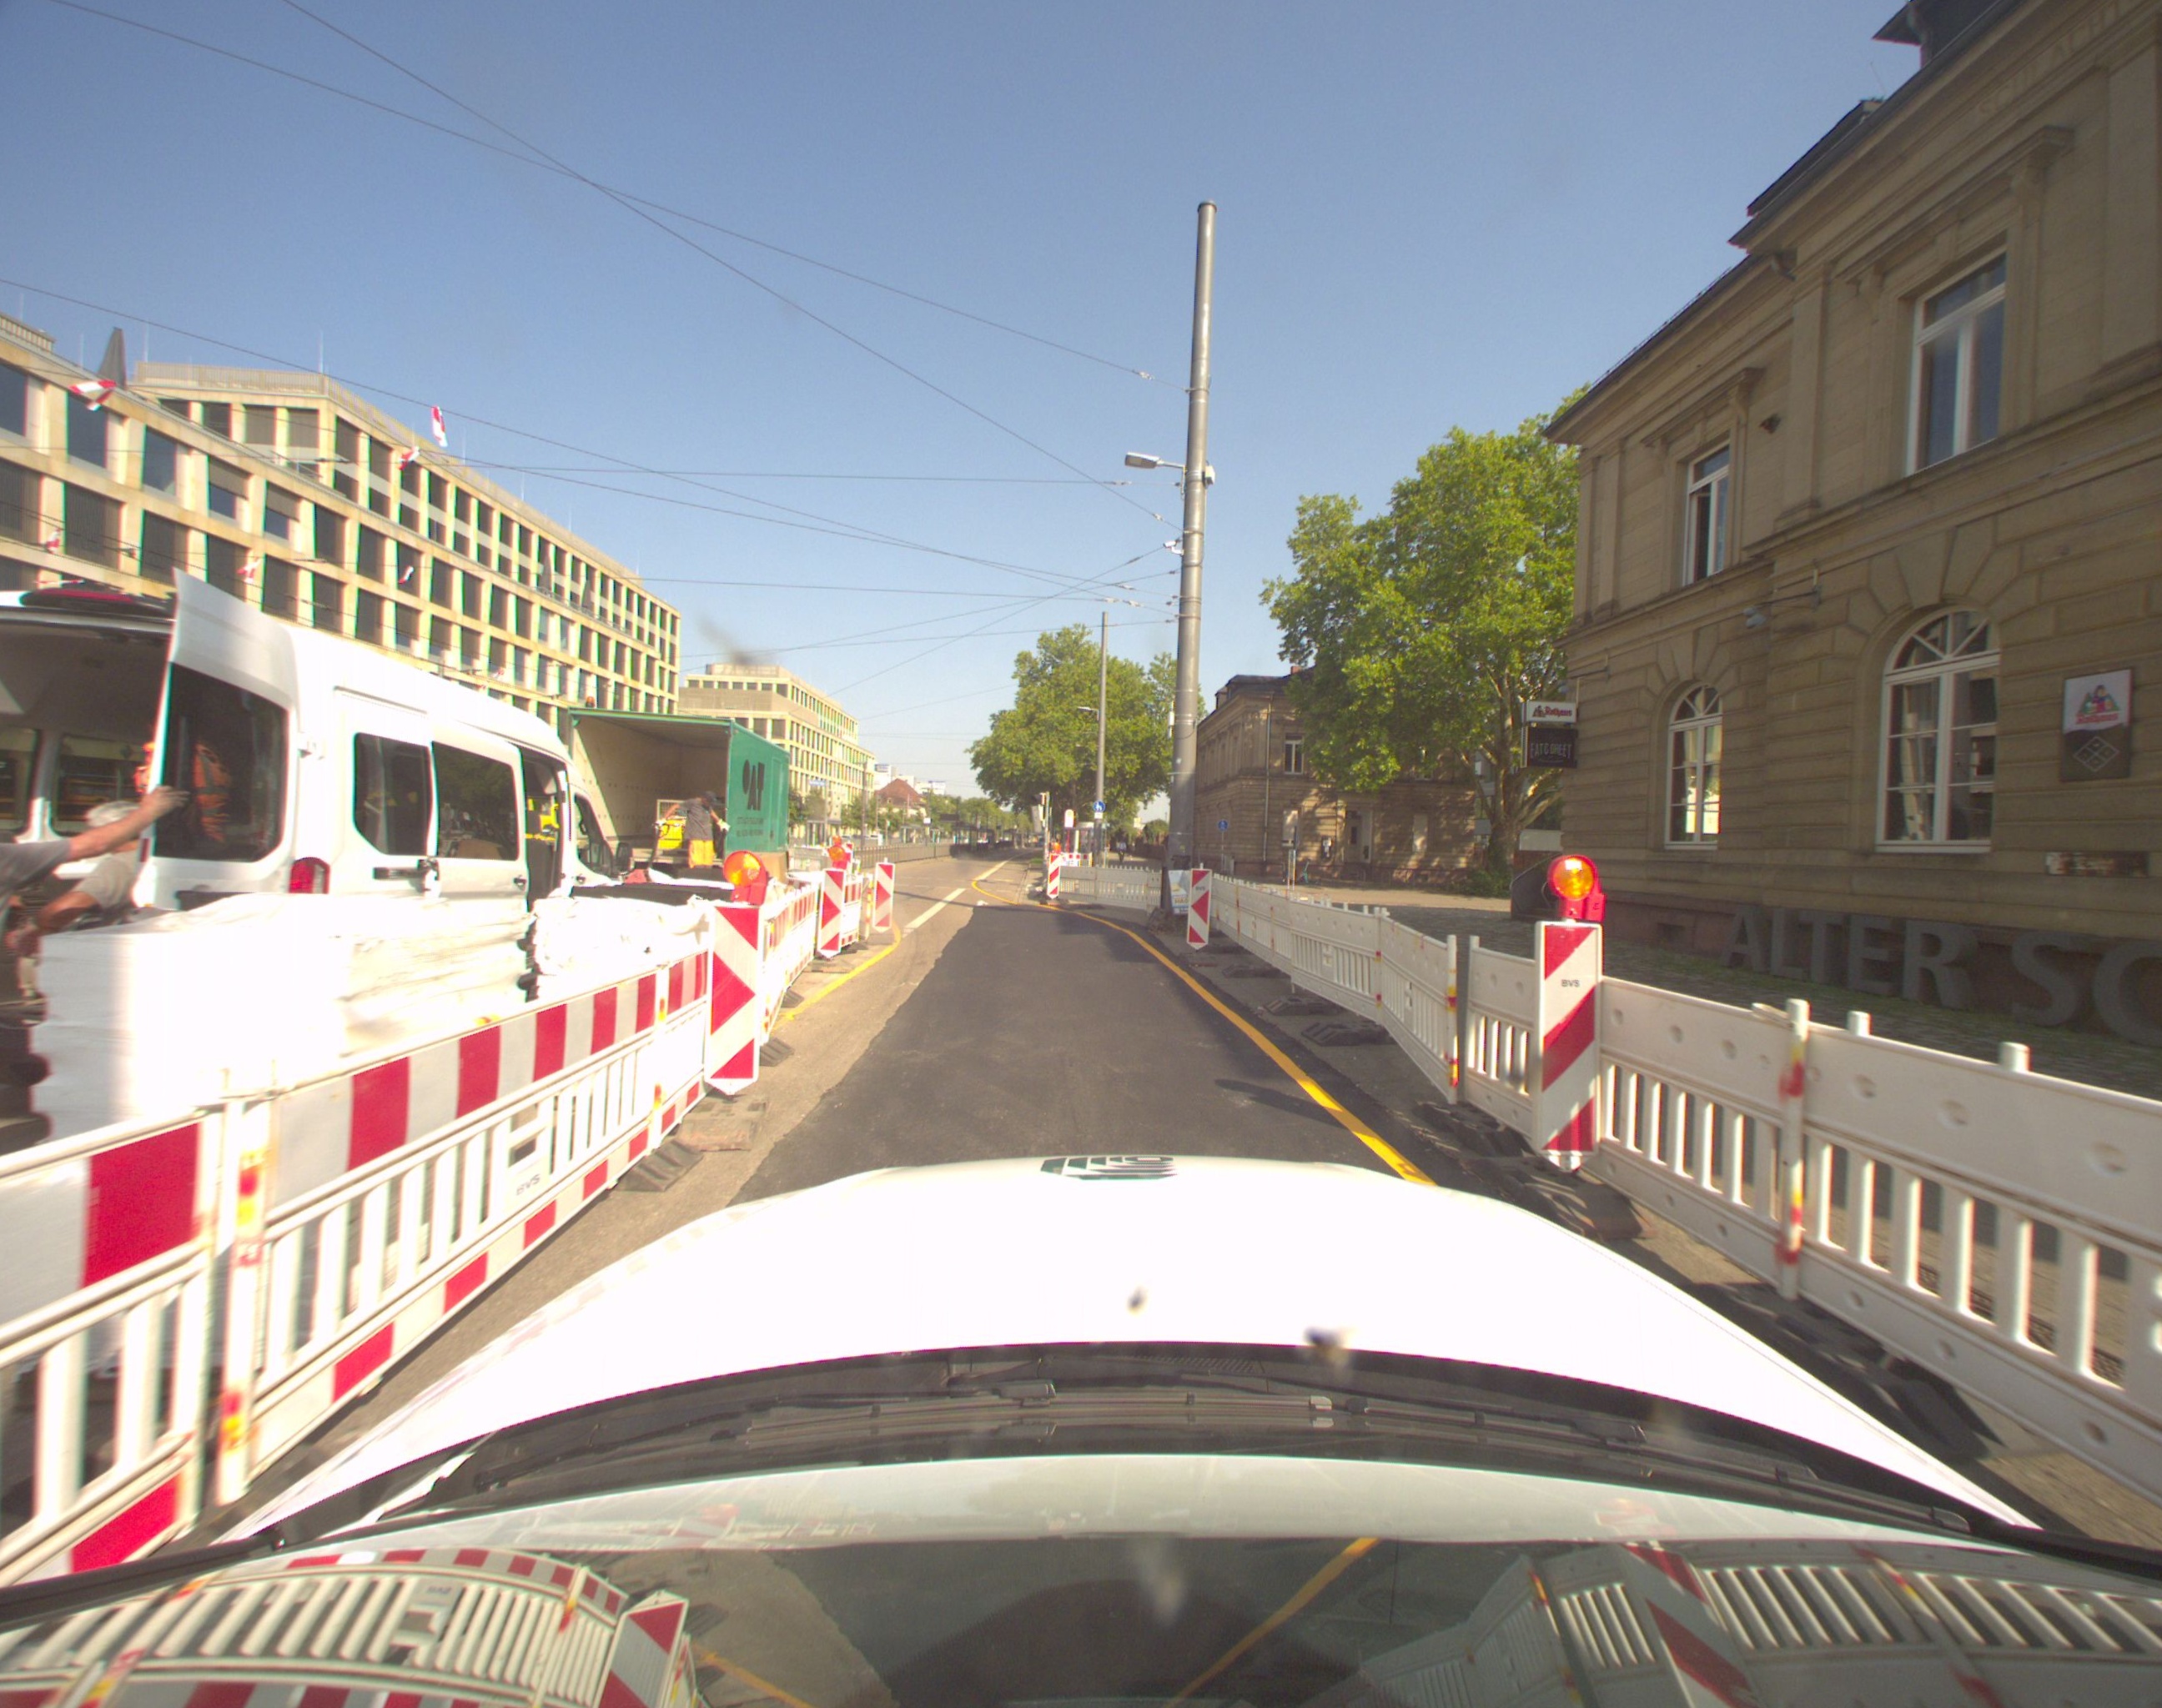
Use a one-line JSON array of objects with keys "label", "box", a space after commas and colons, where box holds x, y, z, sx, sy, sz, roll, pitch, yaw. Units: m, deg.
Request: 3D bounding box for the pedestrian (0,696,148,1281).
[{"label": "pedestrian", "box": [-4.077, 0.455, 2.869, 0.727, 2.013, 0.913, 2, 1, 31]}]

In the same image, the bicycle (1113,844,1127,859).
[{"label": "bicycle", "box": [2.829, -0.205, 59.192, 0.716, 1.041, 1.900, 2, 2, -4]}]

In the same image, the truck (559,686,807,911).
[{"label": "truck", "box": [-8.011, -1.036, 17.711, 2.675, 3.677, 8.185, 2, 2, -11]}]

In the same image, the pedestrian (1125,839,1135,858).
[{"label": "pedestrian", "box": [4.474, -0.493, 74.539, 0.817, 1.686, 1.011, 1, 1, -2]}]

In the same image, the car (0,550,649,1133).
[{"label": "car", "box": [-5.381, -0.118, 6.377, 2.227, 2.728, 5.148, 2, 1, -13]}]

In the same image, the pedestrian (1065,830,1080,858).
[{"label": "pedestrian", "box": [-0.516, -0.604, 50.586, 0.690, 1.696, 0.644, 1, 1, -23]}]

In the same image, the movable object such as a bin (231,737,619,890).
[{"label": "movable object such as a bin", "box": [-20.206, -1.205, 26.121, 3.474, 4.012, 9.090, 2, 2, 22]}]

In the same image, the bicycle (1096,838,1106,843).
[{"label": "bicycle", "box": [3.553, -2.348, 143.737, 1.649, 0.969, 0.507, 0, 1, 3]}]

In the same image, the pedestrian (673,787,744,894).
[{"label": "pedestrian", "box": [-6.134, -0.229, 13.425, 0.698, 1.693, 0.770, 3, 1, 34]}]

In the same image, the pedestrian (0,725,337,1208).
[{"label": "pedestrian", "box": [-4.352, 0.458, 3.879, 0.730, 2.013, 0.908, 2, 1, 5]}]

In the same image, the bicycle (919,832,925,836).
[{"label": "bicycle", "box": [-26.906, -3.441, 137.728, 0.475, 0.662, 1.615, 2, 1, 3]}]

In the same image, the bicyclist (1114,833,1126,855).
[{"label": "bicyclist", "box": [2.855, -0.713, 59.208, 0.716, 1.543, 0.954, 2, 2, -5]}]

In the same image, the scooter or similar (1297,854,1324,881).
[{"label": "scooter or similar", "box": [10.914, 0.635, 38.796, 1.258, 1.209, 0.419, 0, 3, -27]}]

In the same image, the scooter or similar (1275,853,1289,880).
[{"label": "scooter or similar", "box": [9.440, 0.577, 38.243, 0.418, 1.209, 1.262, 3, 3, 20]}]

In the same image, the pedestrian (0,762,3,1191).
[{"label": "pedestrian", "box": [-5.467, 0.579, 3.498, 0.727, 2.013, 0.913, 2, 1, 30]}]

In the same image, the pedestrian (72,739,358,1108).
[{"label": "pedestrian", "box": [-5.176, 0.372, 4.936, 0.731, 2.013, 0.908, 2, 1, 3]}]

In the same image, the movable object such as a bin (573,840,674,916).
[{"label": "movable object such as a bin", "box": [-7.028, 0.336, 12.587, 0.641, 1.092, 1.482, 2, 1, 2]}]
